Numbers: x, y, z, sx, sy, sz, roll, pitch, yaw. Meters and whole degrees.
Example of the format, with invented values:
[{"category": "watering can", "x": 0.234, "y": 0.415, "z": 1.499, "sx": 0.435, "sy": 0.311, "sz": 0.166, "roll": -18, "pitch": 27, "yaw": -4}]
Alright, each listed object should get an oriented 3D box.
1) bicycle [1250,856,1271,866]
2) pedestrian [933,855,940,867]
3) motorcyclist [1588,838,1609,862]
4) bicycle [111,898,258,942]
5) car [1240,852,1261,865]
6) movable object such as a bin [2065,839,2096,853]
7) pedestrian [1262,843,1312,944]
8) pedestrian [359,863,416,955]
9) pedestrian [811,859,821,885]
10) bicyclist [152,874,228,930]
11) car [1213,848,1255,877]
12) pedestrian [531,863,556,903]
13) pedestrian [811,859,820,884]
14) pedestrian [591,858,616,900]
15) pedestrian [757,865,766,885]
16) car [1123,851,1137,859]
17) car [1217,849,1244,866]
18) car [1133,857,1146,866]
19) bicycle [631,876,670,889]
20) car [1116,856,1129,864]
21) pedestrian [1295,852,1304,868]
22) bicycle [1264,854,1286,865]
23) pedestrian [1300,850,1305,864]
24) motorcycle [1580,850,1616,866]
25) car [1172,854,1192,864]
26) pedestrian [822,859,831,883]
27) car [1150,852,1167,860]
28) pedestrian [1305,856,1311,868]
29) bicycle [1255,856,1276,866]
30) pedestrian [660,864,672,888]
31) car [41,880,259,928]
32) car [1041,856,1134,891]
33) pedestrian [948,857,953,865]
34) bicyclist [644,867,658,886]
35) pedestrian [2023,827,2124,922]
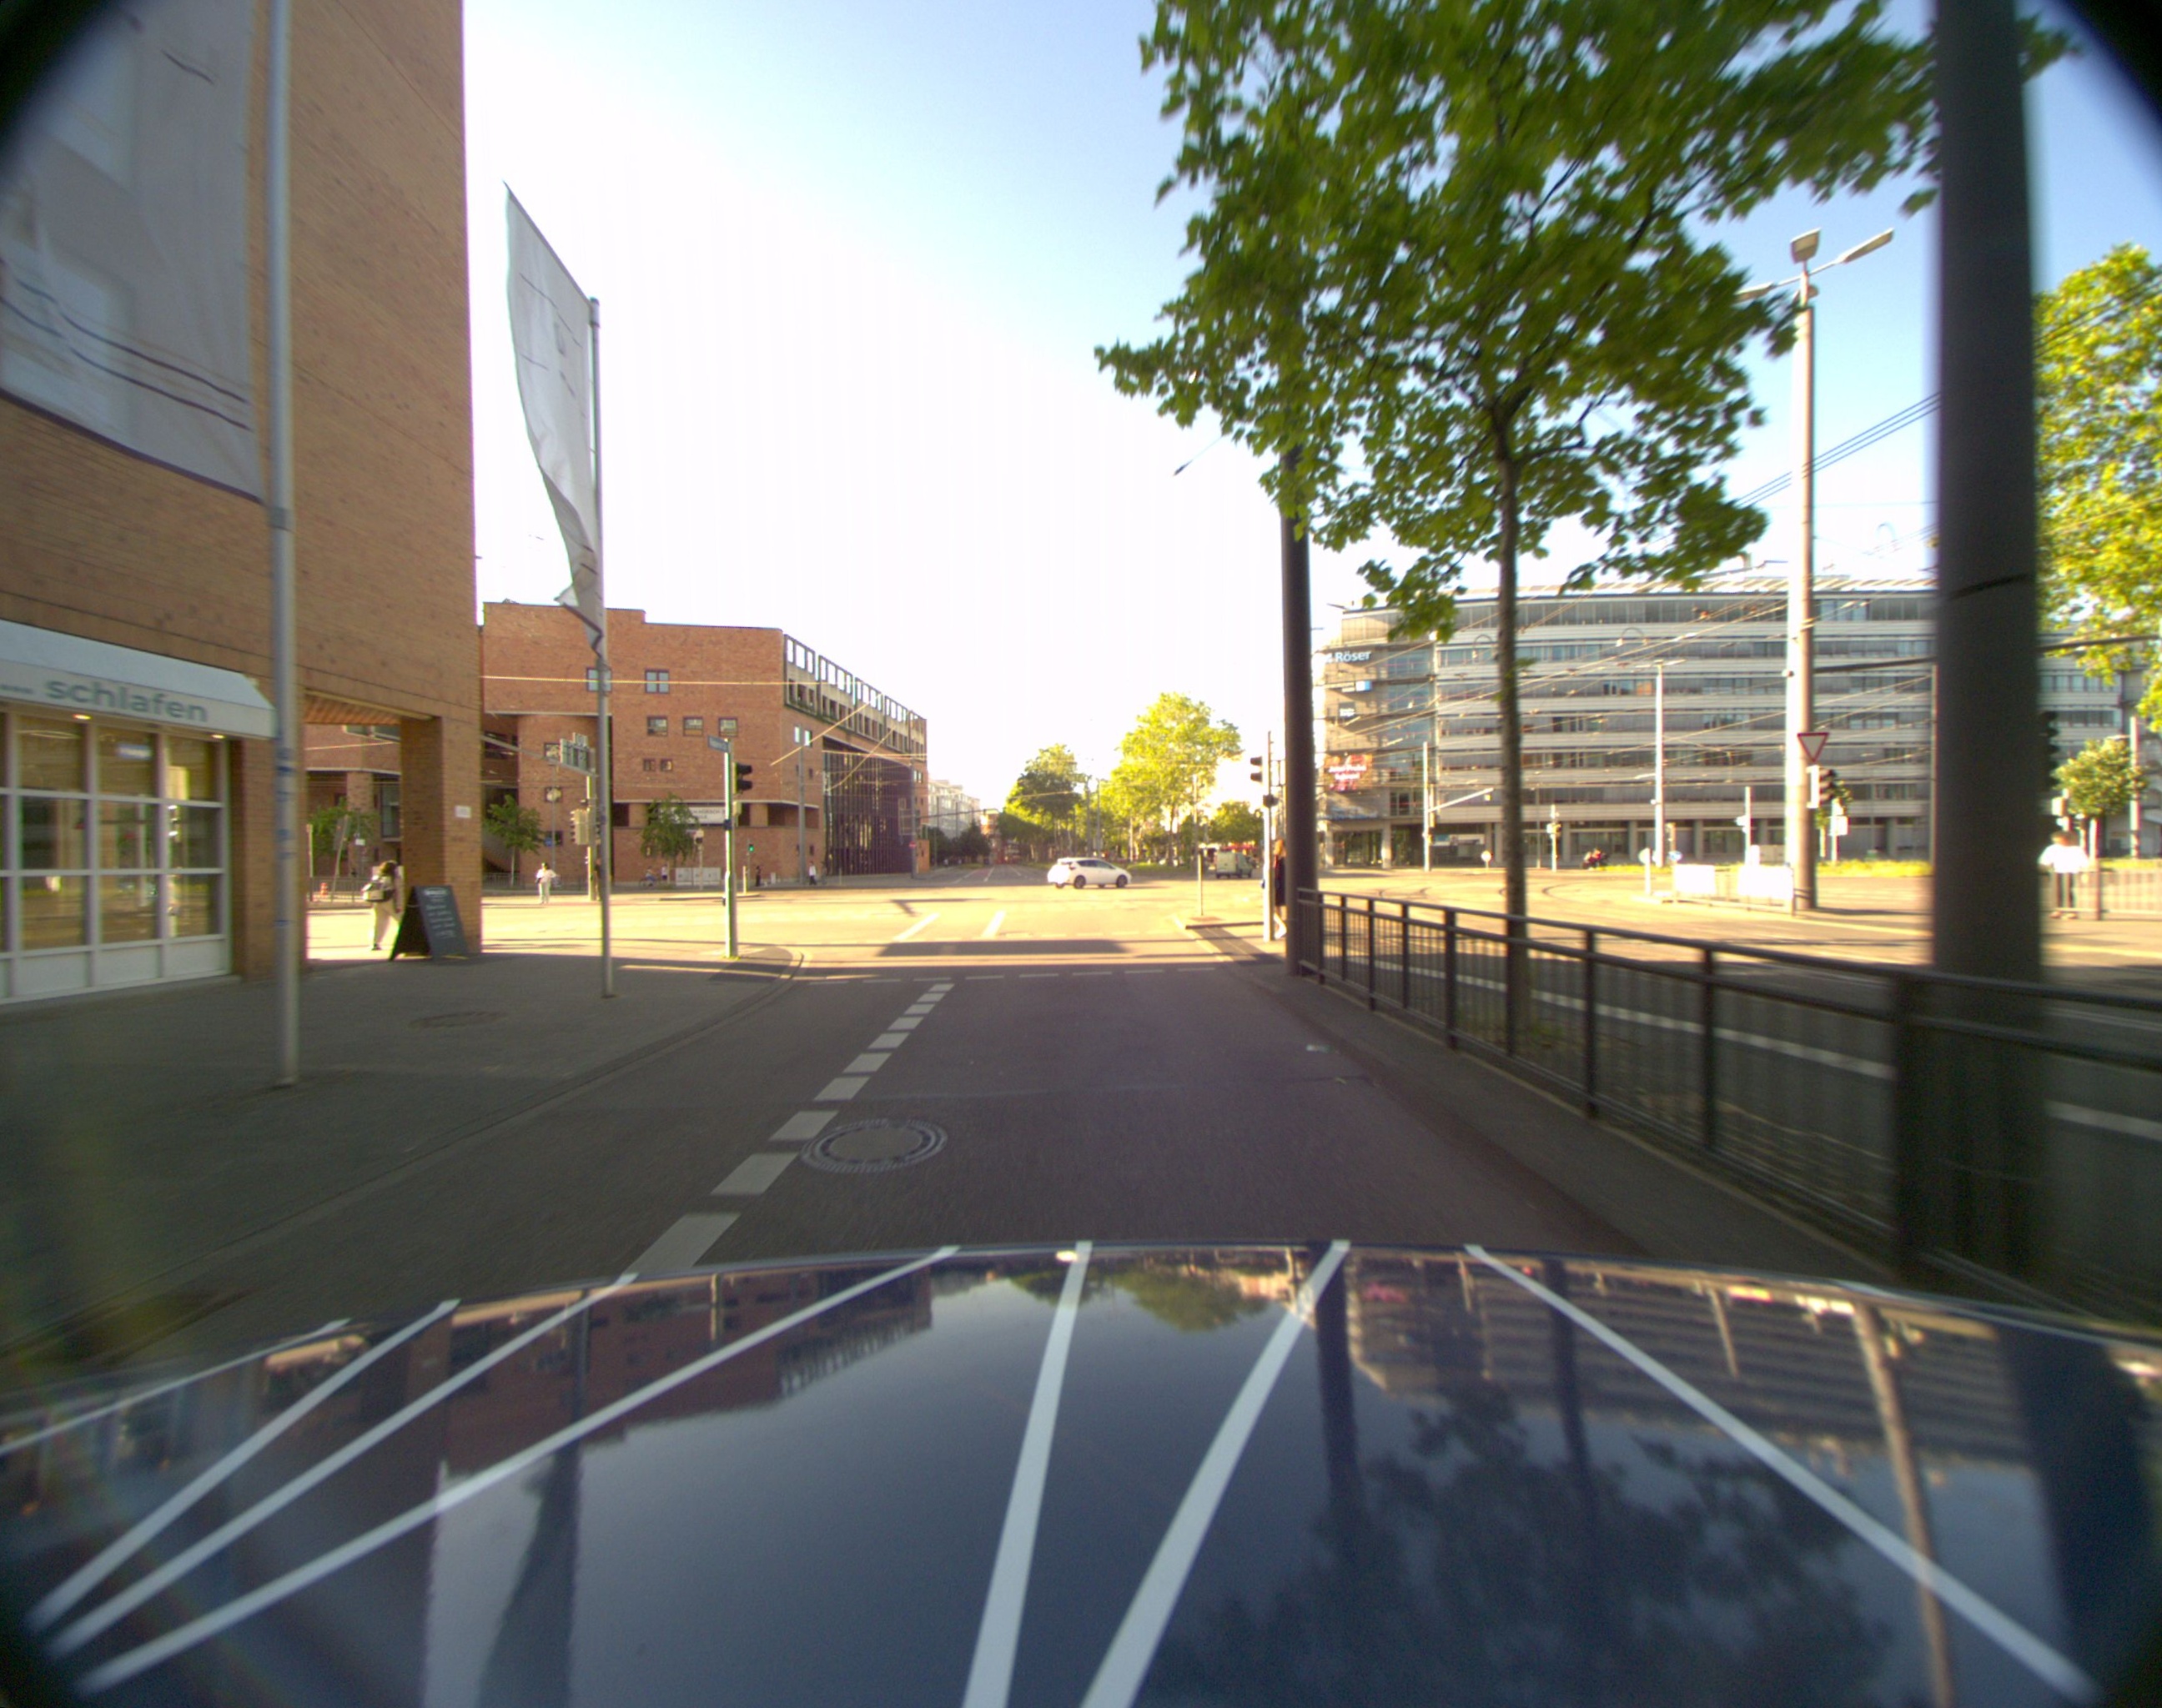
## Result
[{"category": "bicycle", "x": 22.180, "y": 0.888, "z": 93.923, "sx": 2.396, "sy": 1.206, "sz": 0.774, "roll": 0, "pitch": -1, "yaw": -14}, {"category": "pedestrian", "x": -19.049, "y": 0.969, "z": 100.366, "sx": 0.813, "sy": 1.596, "sz": 0.686, "roll": -1, "pitch": 1, "yaw": -20}, {"category": "motorcyclist", "x": 40.803, "y": -0.322, "z": 59.930, "sx": 1.111, "sy": 1.847, "sz": 0.821, "roll": -1, "pitch": 1, "yaw": 1}, {"category": "bicycle", "x": -23.073, "y": 1.697, "z": 19.608, "sx": 2.509, "sy": 0.985, "sz": 0.811, "roll": -1, "pitch": 1, "yaw": -9}, {"category": "car", "x": 19.470, "y": 0.500, "z": 87.251, "sx": 1.865, "sy": 1.466, "sz": 3.979, "roll": -1, "pitch": 0, "yaw": 5}, {"category": "movable object such as a bin", "x": 92.337, "y": -0.712, "z": 70.191, "sx": 1.327, "sy": 1.293, "sz": 1.174, "roll": -1, "pitch": 0, "yaw": 4}, {"category": "pedestrian", "x": 3.520, "y": 0.657, "z": 13.037, "sx": 0.715, "sy": 1.670, "sz": 0.832, "roll": 1, "pitch": 1, "yaw": 9}, {"category": "pedestrian", "x": -12.950, "y": 0.999, "z": 14.204, "sx": 0.742, "sy": 1.656, "sz": 0.751, "roll": -1, "pitch": 1, "yaw": -41}, {"category": "pedestrian", "x": -18.760, "y": 1.254, "z": 53.836, "sx": 0.549, "sy": 1.776, "sz": 0.572, "roll": -1, "pitch": 1, "yaw": -15}, {"category": "bicyclist", "x": -22.972, "y": 1.223, "z": 19.616, "sx": 0.925, "sy": 1.369, "sz": 0.811, "roll": -1, "pitch": 1, "yaw": -9}, {"category": "car", "x": 10.611, "y": 0.562, "z": 52.507, "sx": 1.840, "sy": 1.826, "sz": 4.113, "roll": 0, "pitch": 2, "yaw": 25}, {"category": "pedestrian", "x": -21.641, "y": 1.163, "z": 30.595, "sx": 0.647, "sy": 1.568, "sz": 0.581, "roll": -1, "pitch": 1, "yaw": -21}, {"category": "pedestrian", "x": -19.399, "y": 1.281, "z": 55.499, "sx": 0.549, "sy": 1.776, "sz": 0.572, "roll": -1, "pitch": 1, "yaw": -15}, {"category": "pedestrian", "x": -19.853, "y": 1.026, "z": 31.577, "sx": 0.594, "sy": 1.717, "sz": 0.723, "roll": -1, "pitch": 1, "yaw": -6}, {"category": "pedestrian", "x": -22.790, "y": 1.492, "z": 54.159, "sx": 0.574, "sy": 1.468, "sz": 0.548, "roll": 0, "pitch": 1, "yaw": -25}, {"category": "car", "x": 8.809, "y": 0.189, "z": 136.273, "sx": 1.867, "sy": 1.466, "sz": 3.975, "roll": -1, "pitch": 0, "yaw": -7}, {"category": "car", "x": 18.167, "y": 0.444, "z": 92.536, "sx": 1.867, "sy": 2.004, "sz": 4.455, "roll": -1, "pitch": 0, "yaw": -7}, {"category": "car", "x": 9.606, "y": 1.256, "z": 125.692, "sx": 1.666, "sy": 1.380, "sz": 3.535, "roll": 1, "pitch": 0, "yaw": -4}, {"category": "bicycle", "x": -30.705, "y": 2.034, "z": 54.175, "sx": 2.345, "sy": 0.899, "sz": 0.650, "roll": -1, "pitch": 0, "yaw": -6}, {"category": "car", "x": 8.014, "y": 1.148, "z": 147.500, "sx": 1.700, "sy": 1.431, "sz": 4.016, "roll": -1, "pitch": -1, "yaw": -9}, {"category": "pedestrian", "x": 21.607, "y": 0.607, "z": 74.998, "sx": 0.660, "sy": 1.630, "sz": 0.793, "roll": 0, "pitch": 0, "yaw": 0}, {"category": "bicycle", "x": 22.838, "y": 0.634, "z": 89.414, "sx": 2.391, "sy": 1.206, "sz": 0.776, "roll": 0, "pitch": 0, "yaw": 6}, {"category": "pedestrian", "x": 29.052, "y": 0.406, "z": 99.747, "sx": 0.586, "sy": 1.723, "sz": 0.794, "roll": -1, "pitch": -1, "yaw": 11}, {"category": "motorcycle", "x": 40.791, "y": 0.344, "z": 59.945, "sx": 2.254, "sy": 1.214, "sz": 0.821, "roll": -1, "pitch": 1, "yaw": 0}, {"category": "car", "x": 15.576, "y": 0.827, "z": 117.145, "sx": 1.868, "sy": 1.466, "sz": 3.973, "roll": -1, "pitch": 0, "yaw": -12}, {"category": "pedestrian", "x": -18.533, "y": 1.234, "z": 55.360, "sx": 0.549, "sy": 1.776, "sz": 0.572, "roll": -1, "pitch": 1, "yaw": -15}, {"category": "car", "x": 13.629, "y": 0.388, "z": 134.144, "sx": 1.868, "sy": 1.466, "sz": 3.973, "roll": -1, "pitch": 0, "yaw": -12}, {"category": "pedestrian", "x": 22.248, "y": 0.798, "z": 74.579, "sx": 0.443, "sy": 1.203, "sz": 0.462, "roll": 0, "pitch": 0, "yaw": 0}, {"category": "bicycle", "x": 22.050, "y": 0.808, "z": 90.851, "sx": 2.396, "sy": 1.206, "sz": 0.774, "roll": 0, "pitch": -1, "yaw": -14}, {"category": "pedestrian", "x": -30.401, "y": 1.606, "z": 55.621, "sx": 0.573, "sy": 1.775, "sz": 0.549, "roll": 2, "pitch": 0, "yaw": -5}, {"category": "car", "x": -29.771, "y": 1.570, "z": 24.443, "sx": 4.230, "sy": 1.261, "sz": 1.843, "roll": -1, "pitch": 2, "yaw": -9}, {"category": "car", "x": 0.360, "y": 0.884, "z": 37.038, "sx": 4.306, "sy": 1.440, "sz": 1.840, "roll": -2, "pitch": 2, "yaw": -37}, {"category": "pedestrian", "x": -21.628, "y": 1.203, "z": 125.895, "sx": 0.812, "sy": 1.376, "sz": 0.687, "roll": -1, "pitch": 0, "yaw": -5}, {"category": "bicyclist", "x": -30.672, "y": 1.619, "z": 54.176, "sx": 0.652, "sy": 1.331, "sz": 0.647, "roll": -1, "pitch": 1, "yaw": -6}, {"category": "pedestrian", "x": 18.032, "y": 0.366, "z": 13.824, "sx": 0.830, "sy": 1.670, "sz": 0.717, "roll": 1, "pitch": 1, "yaw": 10}]
